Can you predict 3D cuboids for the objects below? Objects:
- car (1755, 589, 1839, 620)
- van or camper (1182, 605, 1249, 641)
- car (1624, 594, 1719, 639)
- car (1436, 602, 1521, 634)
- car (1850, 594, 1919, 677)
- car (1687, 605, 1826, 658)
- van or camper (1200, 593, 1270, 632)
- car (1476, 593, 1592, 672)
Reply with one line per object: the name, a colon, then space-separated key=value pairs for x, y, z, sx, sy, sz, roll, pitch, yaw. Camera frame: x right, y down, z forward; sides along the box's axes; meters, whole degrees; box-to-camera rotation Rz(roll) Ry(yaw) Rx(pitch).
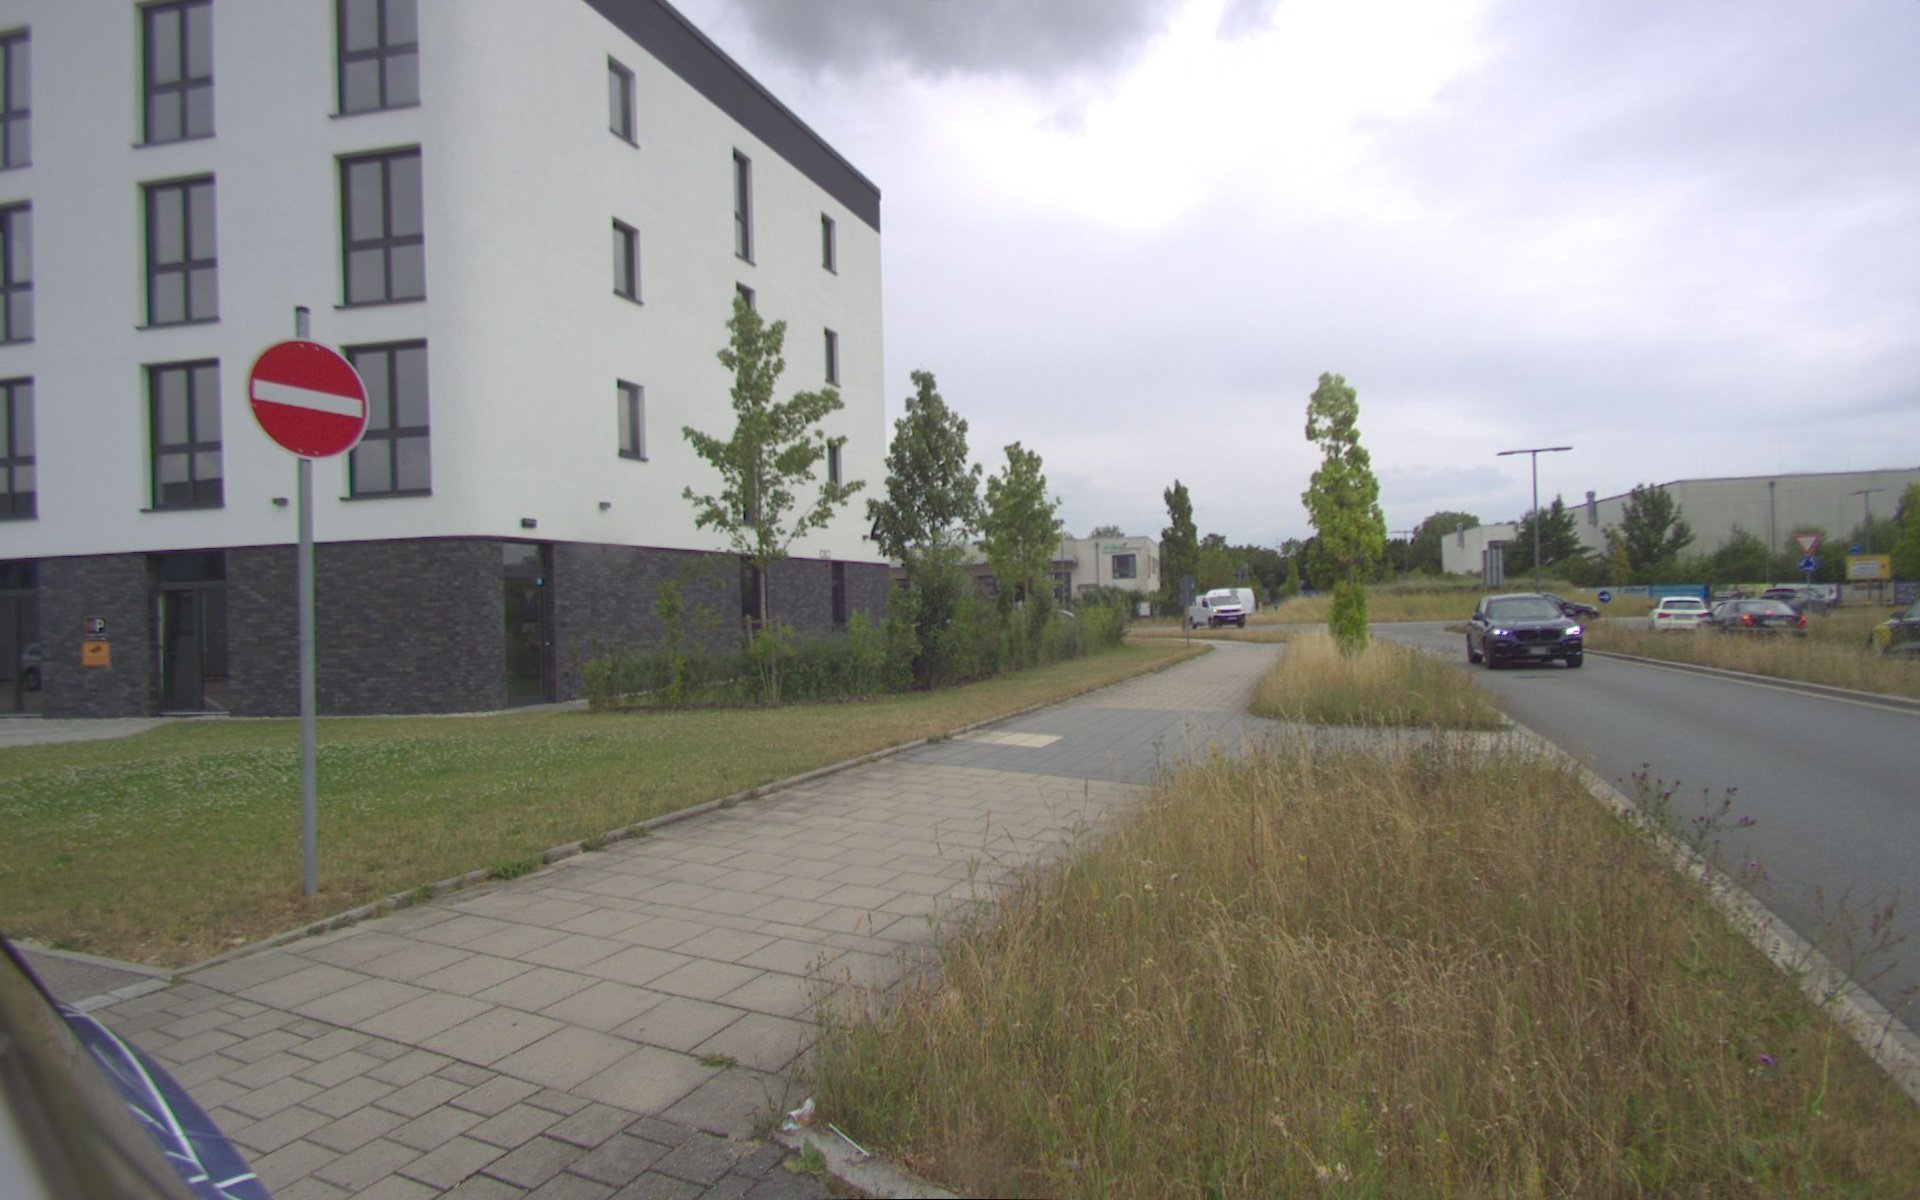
car: x=40.245 y=0.229 z=48.660 sx=3.995 sy=1.353 sz=1.724 roll=-2 pitch=0 yaw=-29
van or camper: x=14.425 y=1.309 z=57.525 sx=1.952 sy=1.905 sz=4.850 roll=-1 pitch=-1 yaw=-8
car: x=25.913 y=0.567 z=36.988 sx=1.744 sy=1.492 sz=4.031 roll=-1 pitch=0 yaw=19
car: x=23.664 y=0.824 z=46.309 sx=3.269 sy=1.364 sz=1.550 roll=-2 pitch=-1 yaw=21
car: x=18.409 y=0.633 z=18.409 sx=1.784 sy=1.477 sz=4.293 roll=-2 pitch=-1 yaw=19
car: x=22.921 y=0.860 z=29.329 sx=1.777 sy=1.406 sz=4.343 roll=-1 pitch=0 yaw=19
van or camper: x=19.977 y=0.878 z=73.402 sx=5.378 sy=2.601 sz=2.004 roll=-1 pitch=0 yaw=-38
car: x=13.180 y=0.712 z=23.474 sx=1.883 sy=1.652 sz=3.968 roll=-2 pitch=-1 yaw=24
